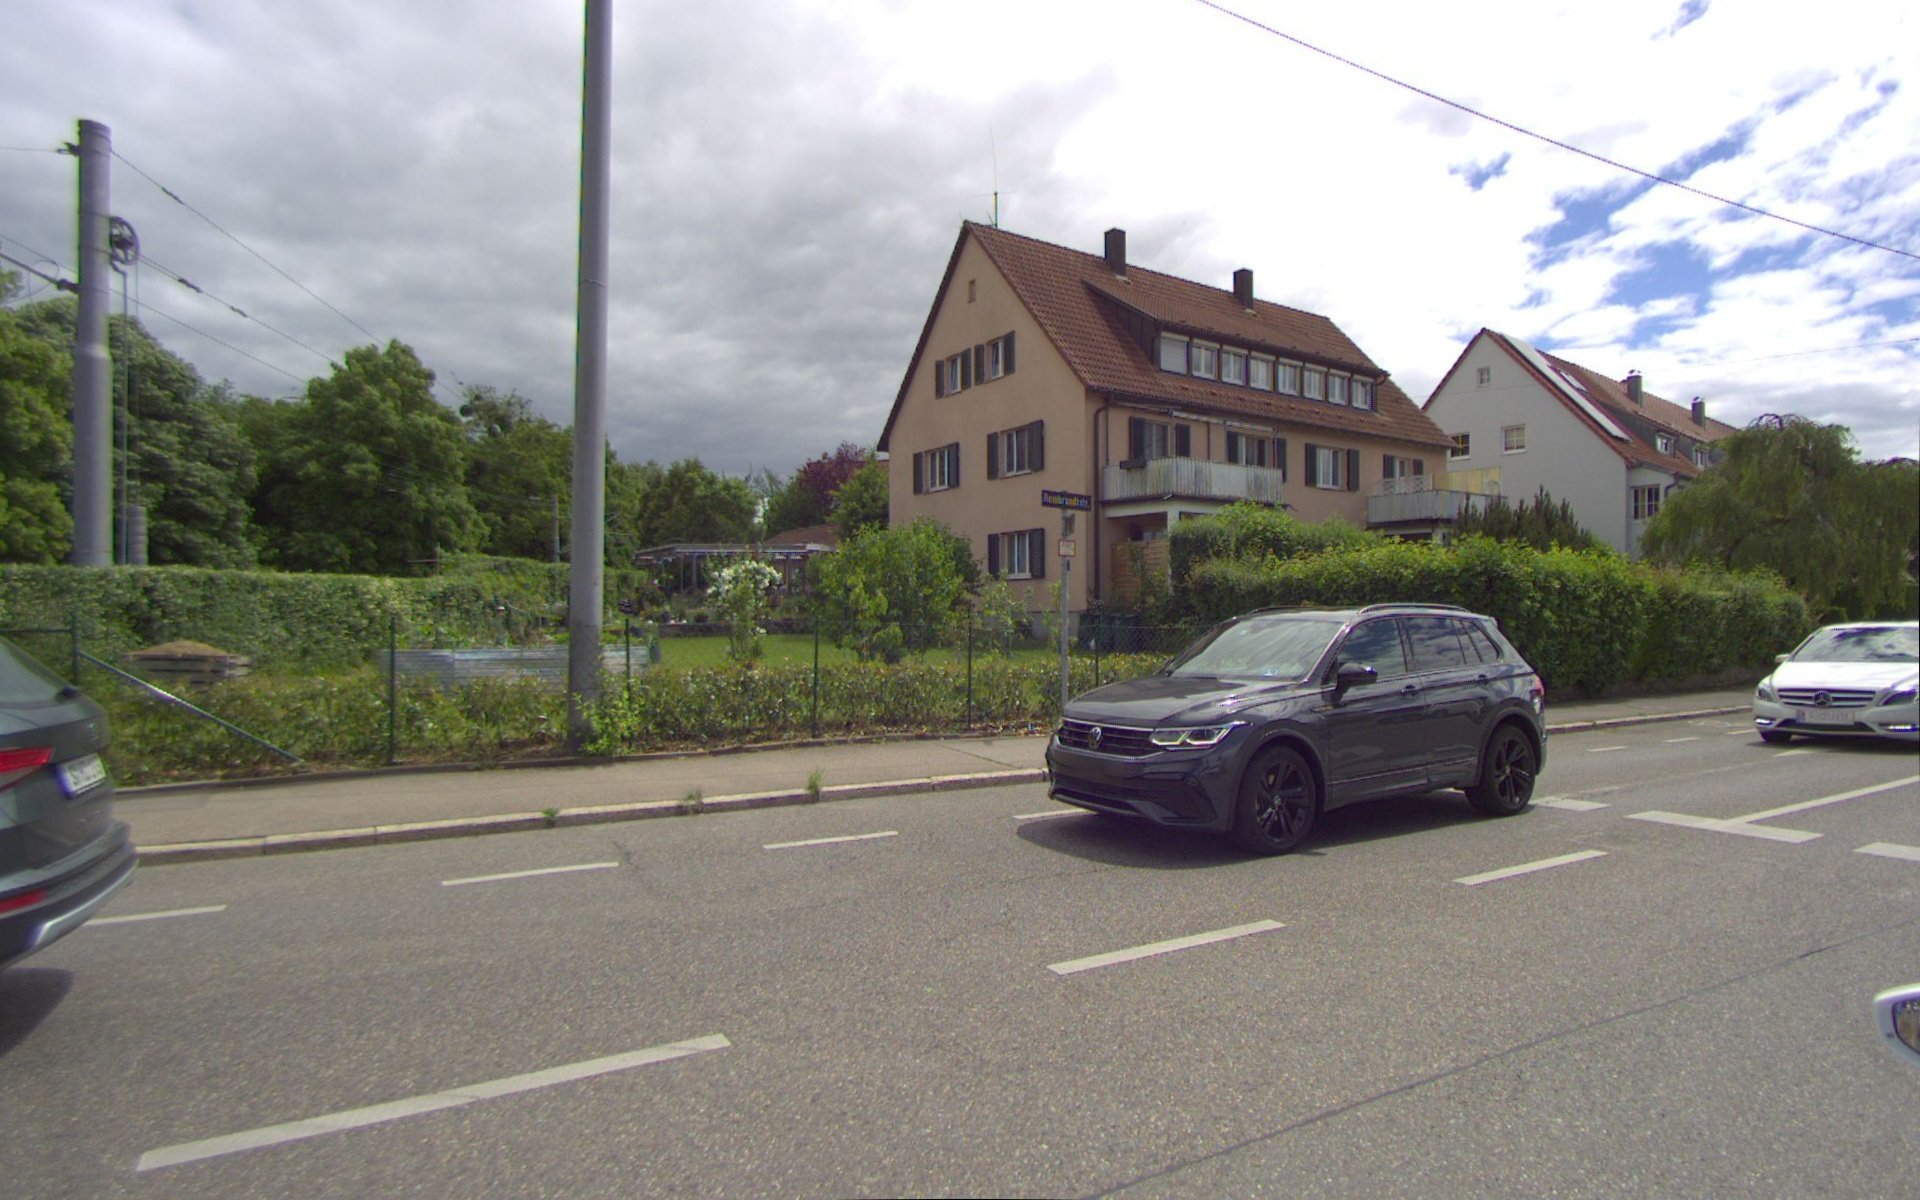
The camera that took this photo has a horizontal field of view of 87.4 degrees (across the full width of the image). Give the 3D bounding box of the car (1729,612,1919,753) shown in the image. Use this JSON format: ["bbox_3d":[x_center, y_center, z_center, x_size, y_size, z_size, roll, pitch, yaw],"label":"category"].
[{"bbox_3d":[12.053,0.984,13.163,4.122,1.582,1.766,1,-2,-32],"label":"car"}]

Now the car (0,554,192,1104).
[{"bbox_3d":[-4.822,0.687,2.831,3.992,1.624,1.767,1,-2,-31],"label":"car"}]

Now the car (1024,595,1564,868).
[{"bbox_3d":[2.688,0.842,7.840,4.122,1.624,1.766,1,-2,-32],"label":"car"}]
